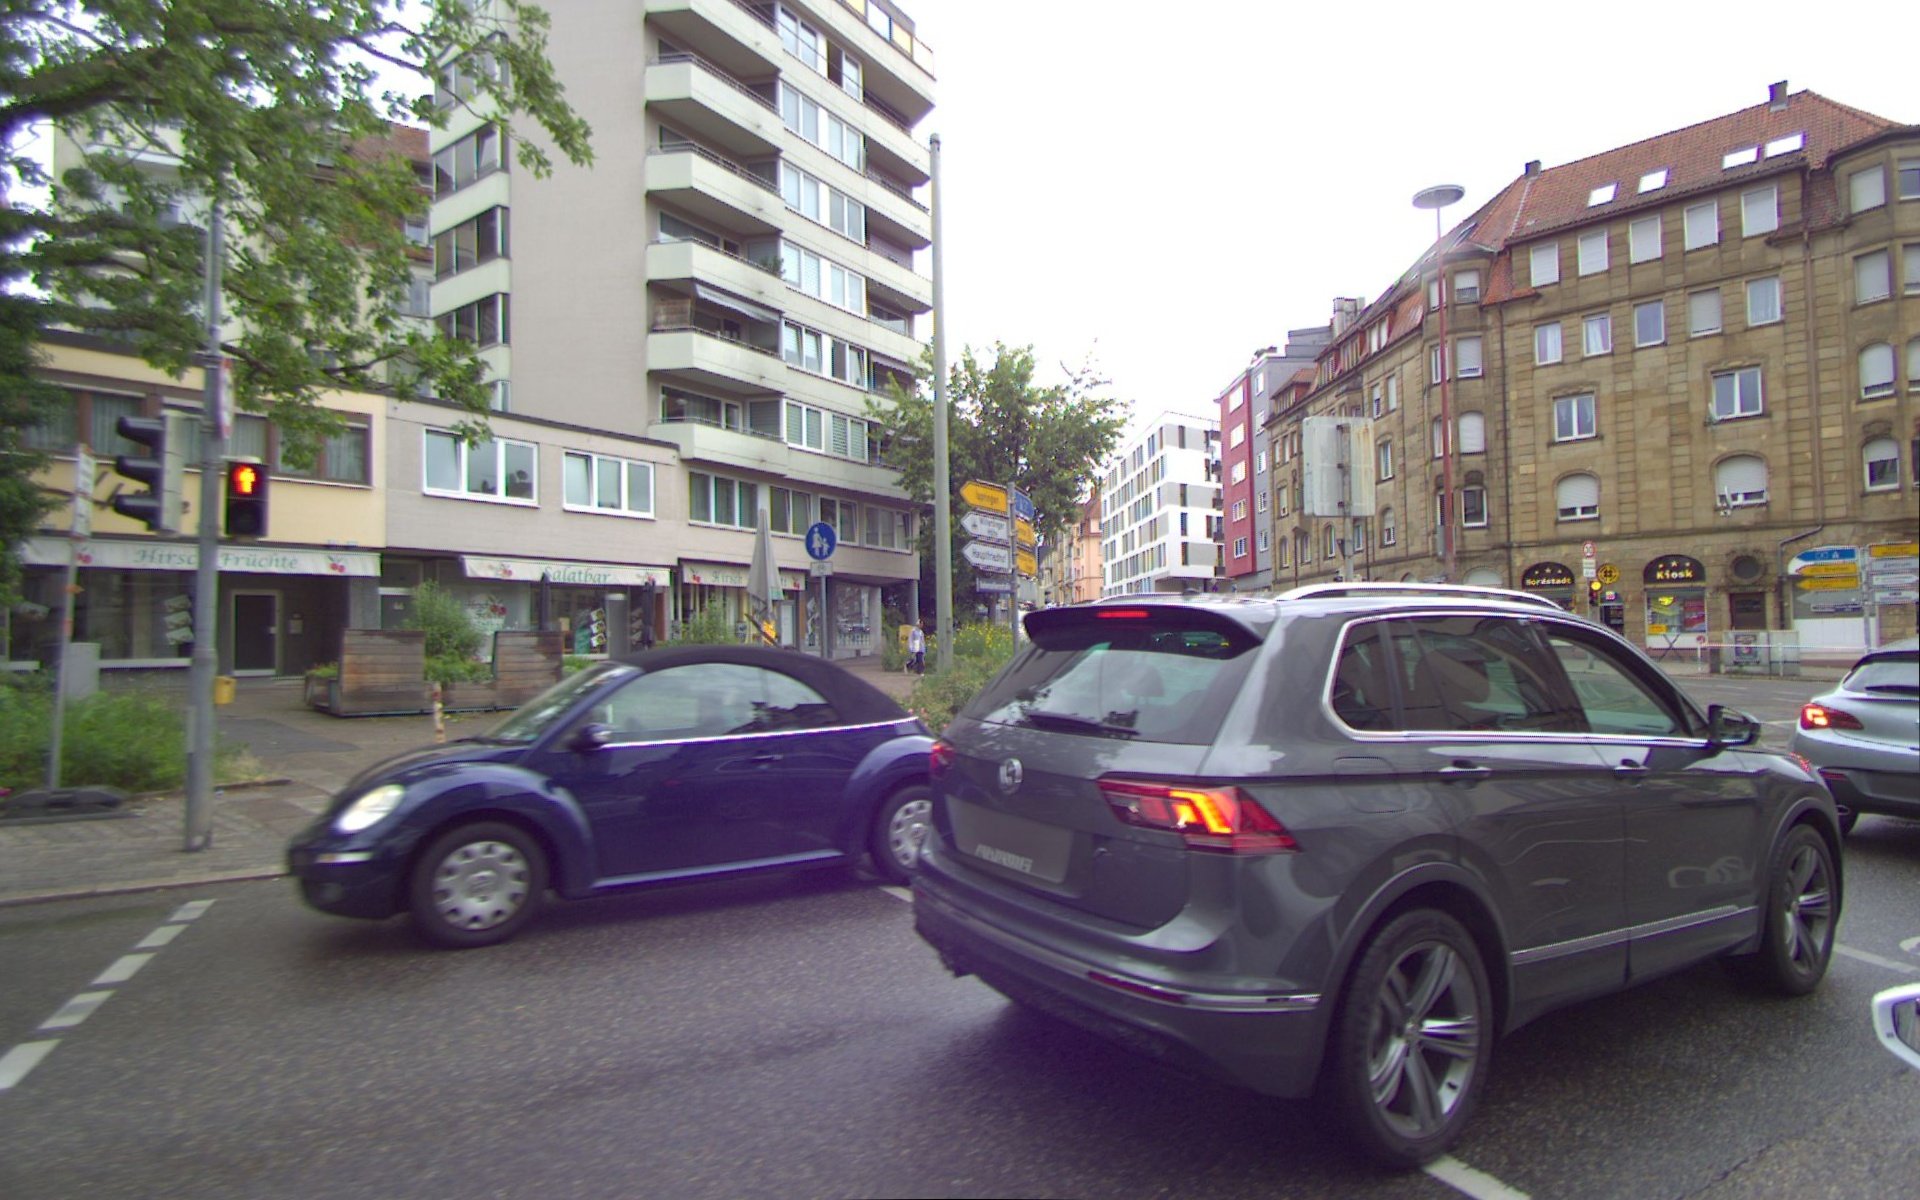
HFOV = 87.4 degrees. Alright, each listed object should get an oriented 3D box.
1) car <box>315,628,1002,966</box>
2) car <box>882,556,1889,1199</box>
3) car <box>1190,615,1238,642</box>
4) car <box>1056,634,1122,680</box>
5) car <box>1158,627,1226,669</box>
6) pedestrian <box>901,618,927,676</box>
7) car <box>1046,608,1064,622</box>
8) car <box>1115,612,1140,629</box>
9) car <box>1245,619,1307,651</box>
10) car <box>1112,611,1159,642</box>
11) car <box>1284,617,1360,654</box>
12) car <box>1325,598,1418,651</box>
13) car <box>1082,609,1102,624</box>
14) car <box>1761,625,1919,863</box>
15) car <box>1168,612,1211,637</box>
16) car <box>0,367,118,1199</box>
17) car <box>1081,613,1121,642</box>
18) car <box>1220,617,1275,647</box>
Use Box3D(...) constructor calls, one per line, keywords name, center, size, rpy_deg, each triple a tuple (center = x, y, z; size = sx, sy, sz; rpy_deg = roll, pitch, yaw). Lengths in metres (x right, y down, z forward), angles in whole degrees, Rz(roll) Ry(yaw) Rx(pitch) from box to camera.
Box3D(name="car", center=(-1.734, 1.000, 6.211), size=(3.638, 1.516, 1.707), rpy_deg=(2, -5, -29))
Box3D(name="car", center=(1.921, 0.758, 4.125), size=(4.165, 1.666, 1.743), rpy_deg=(0, -1, -32))
Box3D(name="car", center=(17.242, 1.908, 68.408), size=(1.961, 1.726, 4.214), rpy_deg=(1, -1, -3))
Box3D(name="car", center=(4.733, 2.059, 37.451), size=(1.876, 1.511, 4.393), rpy_deg=(1, -1, 0))
Box3D(name="car", center=(9.090, 1.866, 39.720), size=(1.732, 1.511, 4.024), rpy_deg=(-1, -1, 0))
Box3D(name="pedestrian", center=(-1.388, 1.421, 30.569), size=(0.612, 1.715, 0.620), rpy_deg=(1, -1, 13))
Box3D(name="car", center=(12.378, 2.016, 131.032), size=(1.665, 1.726, 4.214), rpy_deg=(1, -1, -3))
Box3D(name="car", center=(17.278, 2.093, 103.848), size=(1.665, 1.726, 4.214), rpy_deg=(1, -1, -3))
Box3D(name="car", center=(17.943, 1.973, 57.214), size=(1.961, 1.726, 4.214), rpy_deg=(1, -1, -3))
Box3D(name="car", center=(9.164, 1.391, 52.735), size=(1.704, 1.558, 4.302), rpy_deg=(-1, -1, 0))
Box3D(name="car", center=(17.889, 1.725, 49.805), size=(1.961, 1.726, 4.380), rpy_deg=(1, -1, -3))
Box3D(name="car", center=(18.310, 1.085, 44.996), size=(1.961, 2.197, 4.802), rpy_deg=(1, -1, -3))
Box3D(name="car", center=(16.027, 2.038, 122.038), size=(1.665, 1.726, 4.214), rpy_deg=(1, -1, -3))
Box3D(name="car", center=(7.862, 0.959, 7.338), size=(4.131, 1.502, 1.744), rpy_deg=(2, -2, -30))
Box3D(name="car", center=(16.960, 1.810, 74.363), size=(1.961, 1.726, 4.214), rpy_deg=(1, -1, -3))
Box3D(name="car", center=(-3.400, 0.369, 0.466), size=(4.332, 1.666, 1.742), rpy_deg=(3, -2, -33))
Box3D(name="car", center=(8.355, 1.643, 59.795), size=(1.704, 1.558, 4.155), rpy_deg=(3, -2, 0))
Box3D(name="car", center=(17.677, 1.943, 62.036), size=(1.961, 1.726, 4.214), rpy_deg=(1, -1, -3))
